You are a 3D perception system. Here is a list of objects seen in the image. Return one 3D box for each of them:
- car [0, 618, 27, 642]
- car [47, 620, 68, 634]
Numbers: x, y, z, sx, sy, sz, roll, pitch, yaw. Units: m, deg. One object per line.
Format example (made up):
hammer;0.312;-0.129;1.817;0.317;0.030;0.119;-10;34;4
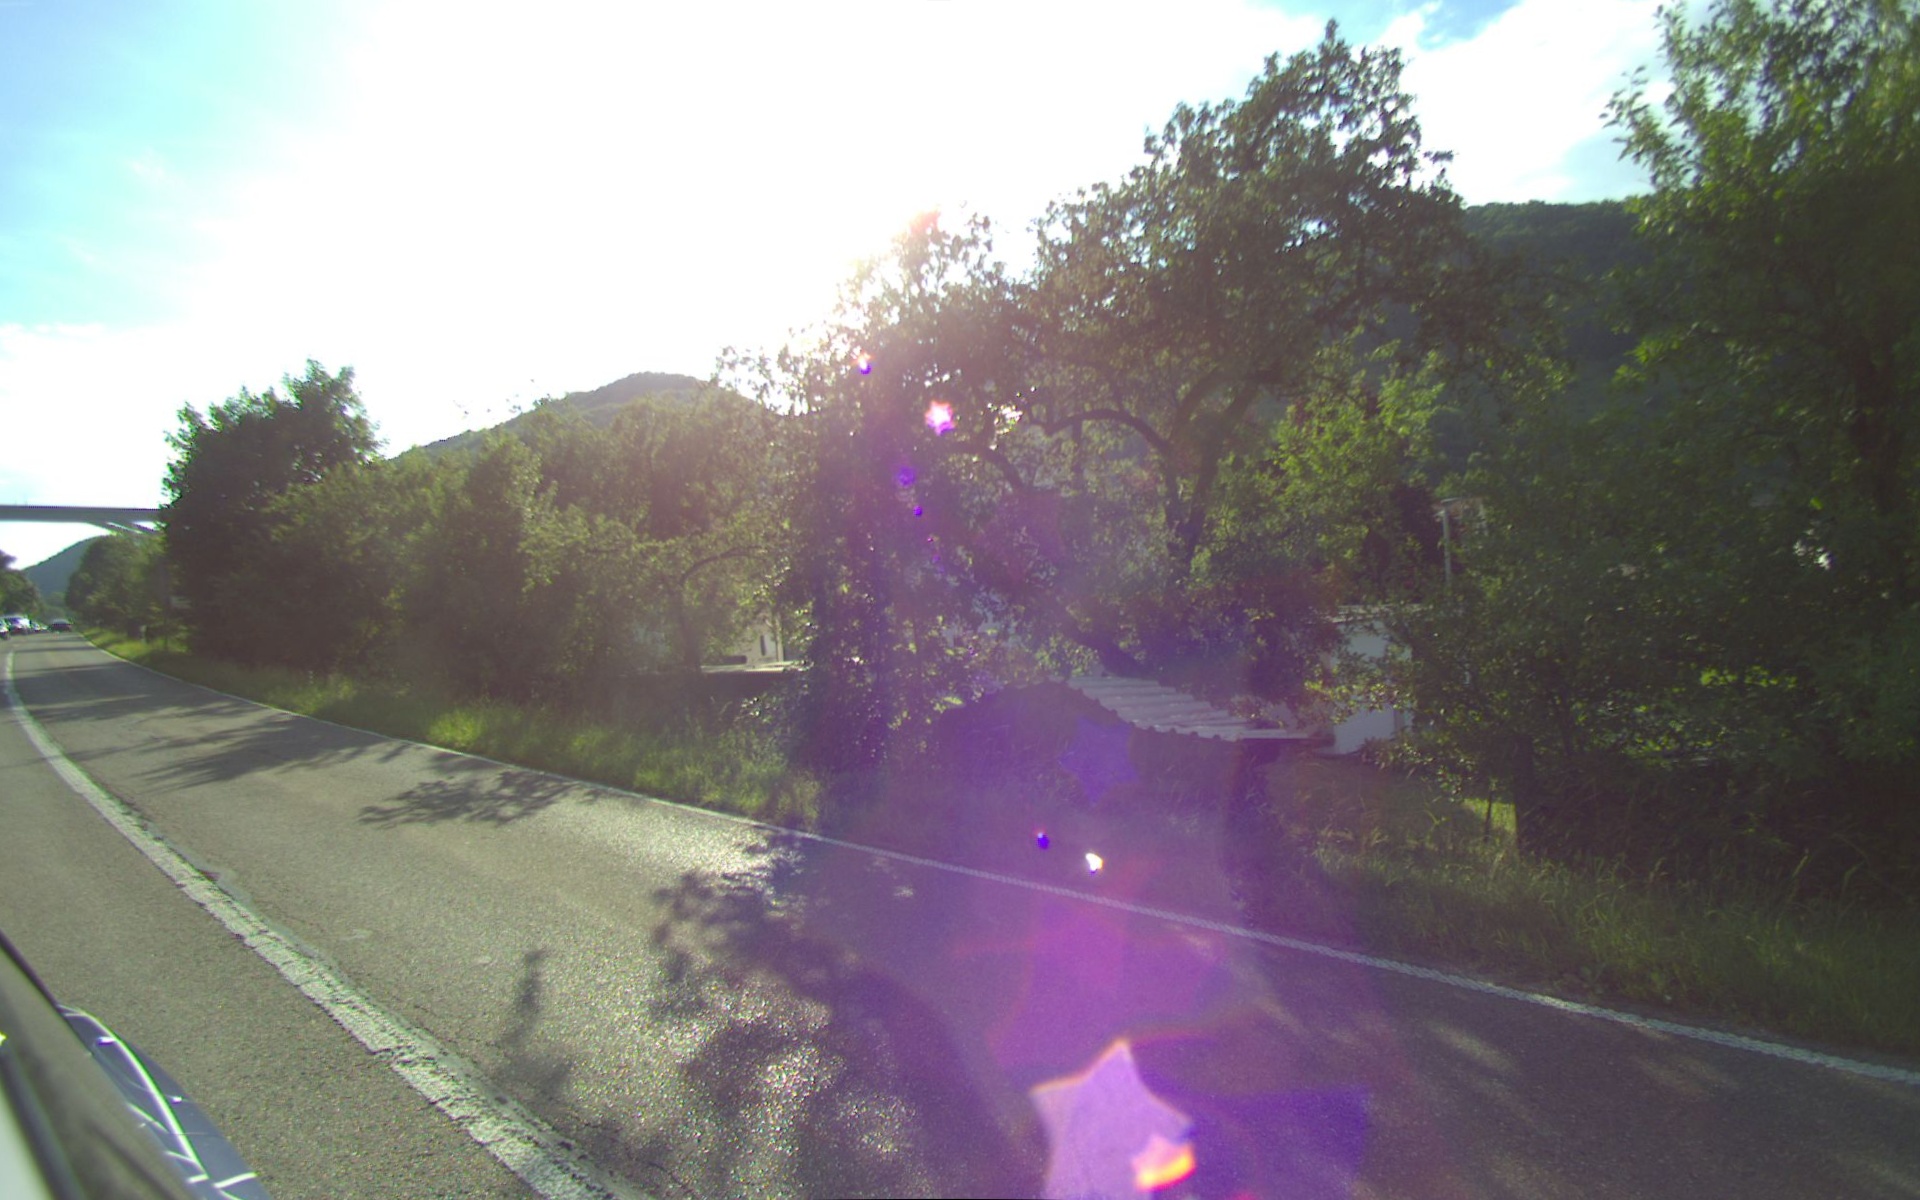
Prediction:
car;-81.514;2.558;86.894;1.970;2.029;4.003;-1;0;-44
car;-95.964;2.868;107.643;1.574;1.364;4.209;-1;0;-41
